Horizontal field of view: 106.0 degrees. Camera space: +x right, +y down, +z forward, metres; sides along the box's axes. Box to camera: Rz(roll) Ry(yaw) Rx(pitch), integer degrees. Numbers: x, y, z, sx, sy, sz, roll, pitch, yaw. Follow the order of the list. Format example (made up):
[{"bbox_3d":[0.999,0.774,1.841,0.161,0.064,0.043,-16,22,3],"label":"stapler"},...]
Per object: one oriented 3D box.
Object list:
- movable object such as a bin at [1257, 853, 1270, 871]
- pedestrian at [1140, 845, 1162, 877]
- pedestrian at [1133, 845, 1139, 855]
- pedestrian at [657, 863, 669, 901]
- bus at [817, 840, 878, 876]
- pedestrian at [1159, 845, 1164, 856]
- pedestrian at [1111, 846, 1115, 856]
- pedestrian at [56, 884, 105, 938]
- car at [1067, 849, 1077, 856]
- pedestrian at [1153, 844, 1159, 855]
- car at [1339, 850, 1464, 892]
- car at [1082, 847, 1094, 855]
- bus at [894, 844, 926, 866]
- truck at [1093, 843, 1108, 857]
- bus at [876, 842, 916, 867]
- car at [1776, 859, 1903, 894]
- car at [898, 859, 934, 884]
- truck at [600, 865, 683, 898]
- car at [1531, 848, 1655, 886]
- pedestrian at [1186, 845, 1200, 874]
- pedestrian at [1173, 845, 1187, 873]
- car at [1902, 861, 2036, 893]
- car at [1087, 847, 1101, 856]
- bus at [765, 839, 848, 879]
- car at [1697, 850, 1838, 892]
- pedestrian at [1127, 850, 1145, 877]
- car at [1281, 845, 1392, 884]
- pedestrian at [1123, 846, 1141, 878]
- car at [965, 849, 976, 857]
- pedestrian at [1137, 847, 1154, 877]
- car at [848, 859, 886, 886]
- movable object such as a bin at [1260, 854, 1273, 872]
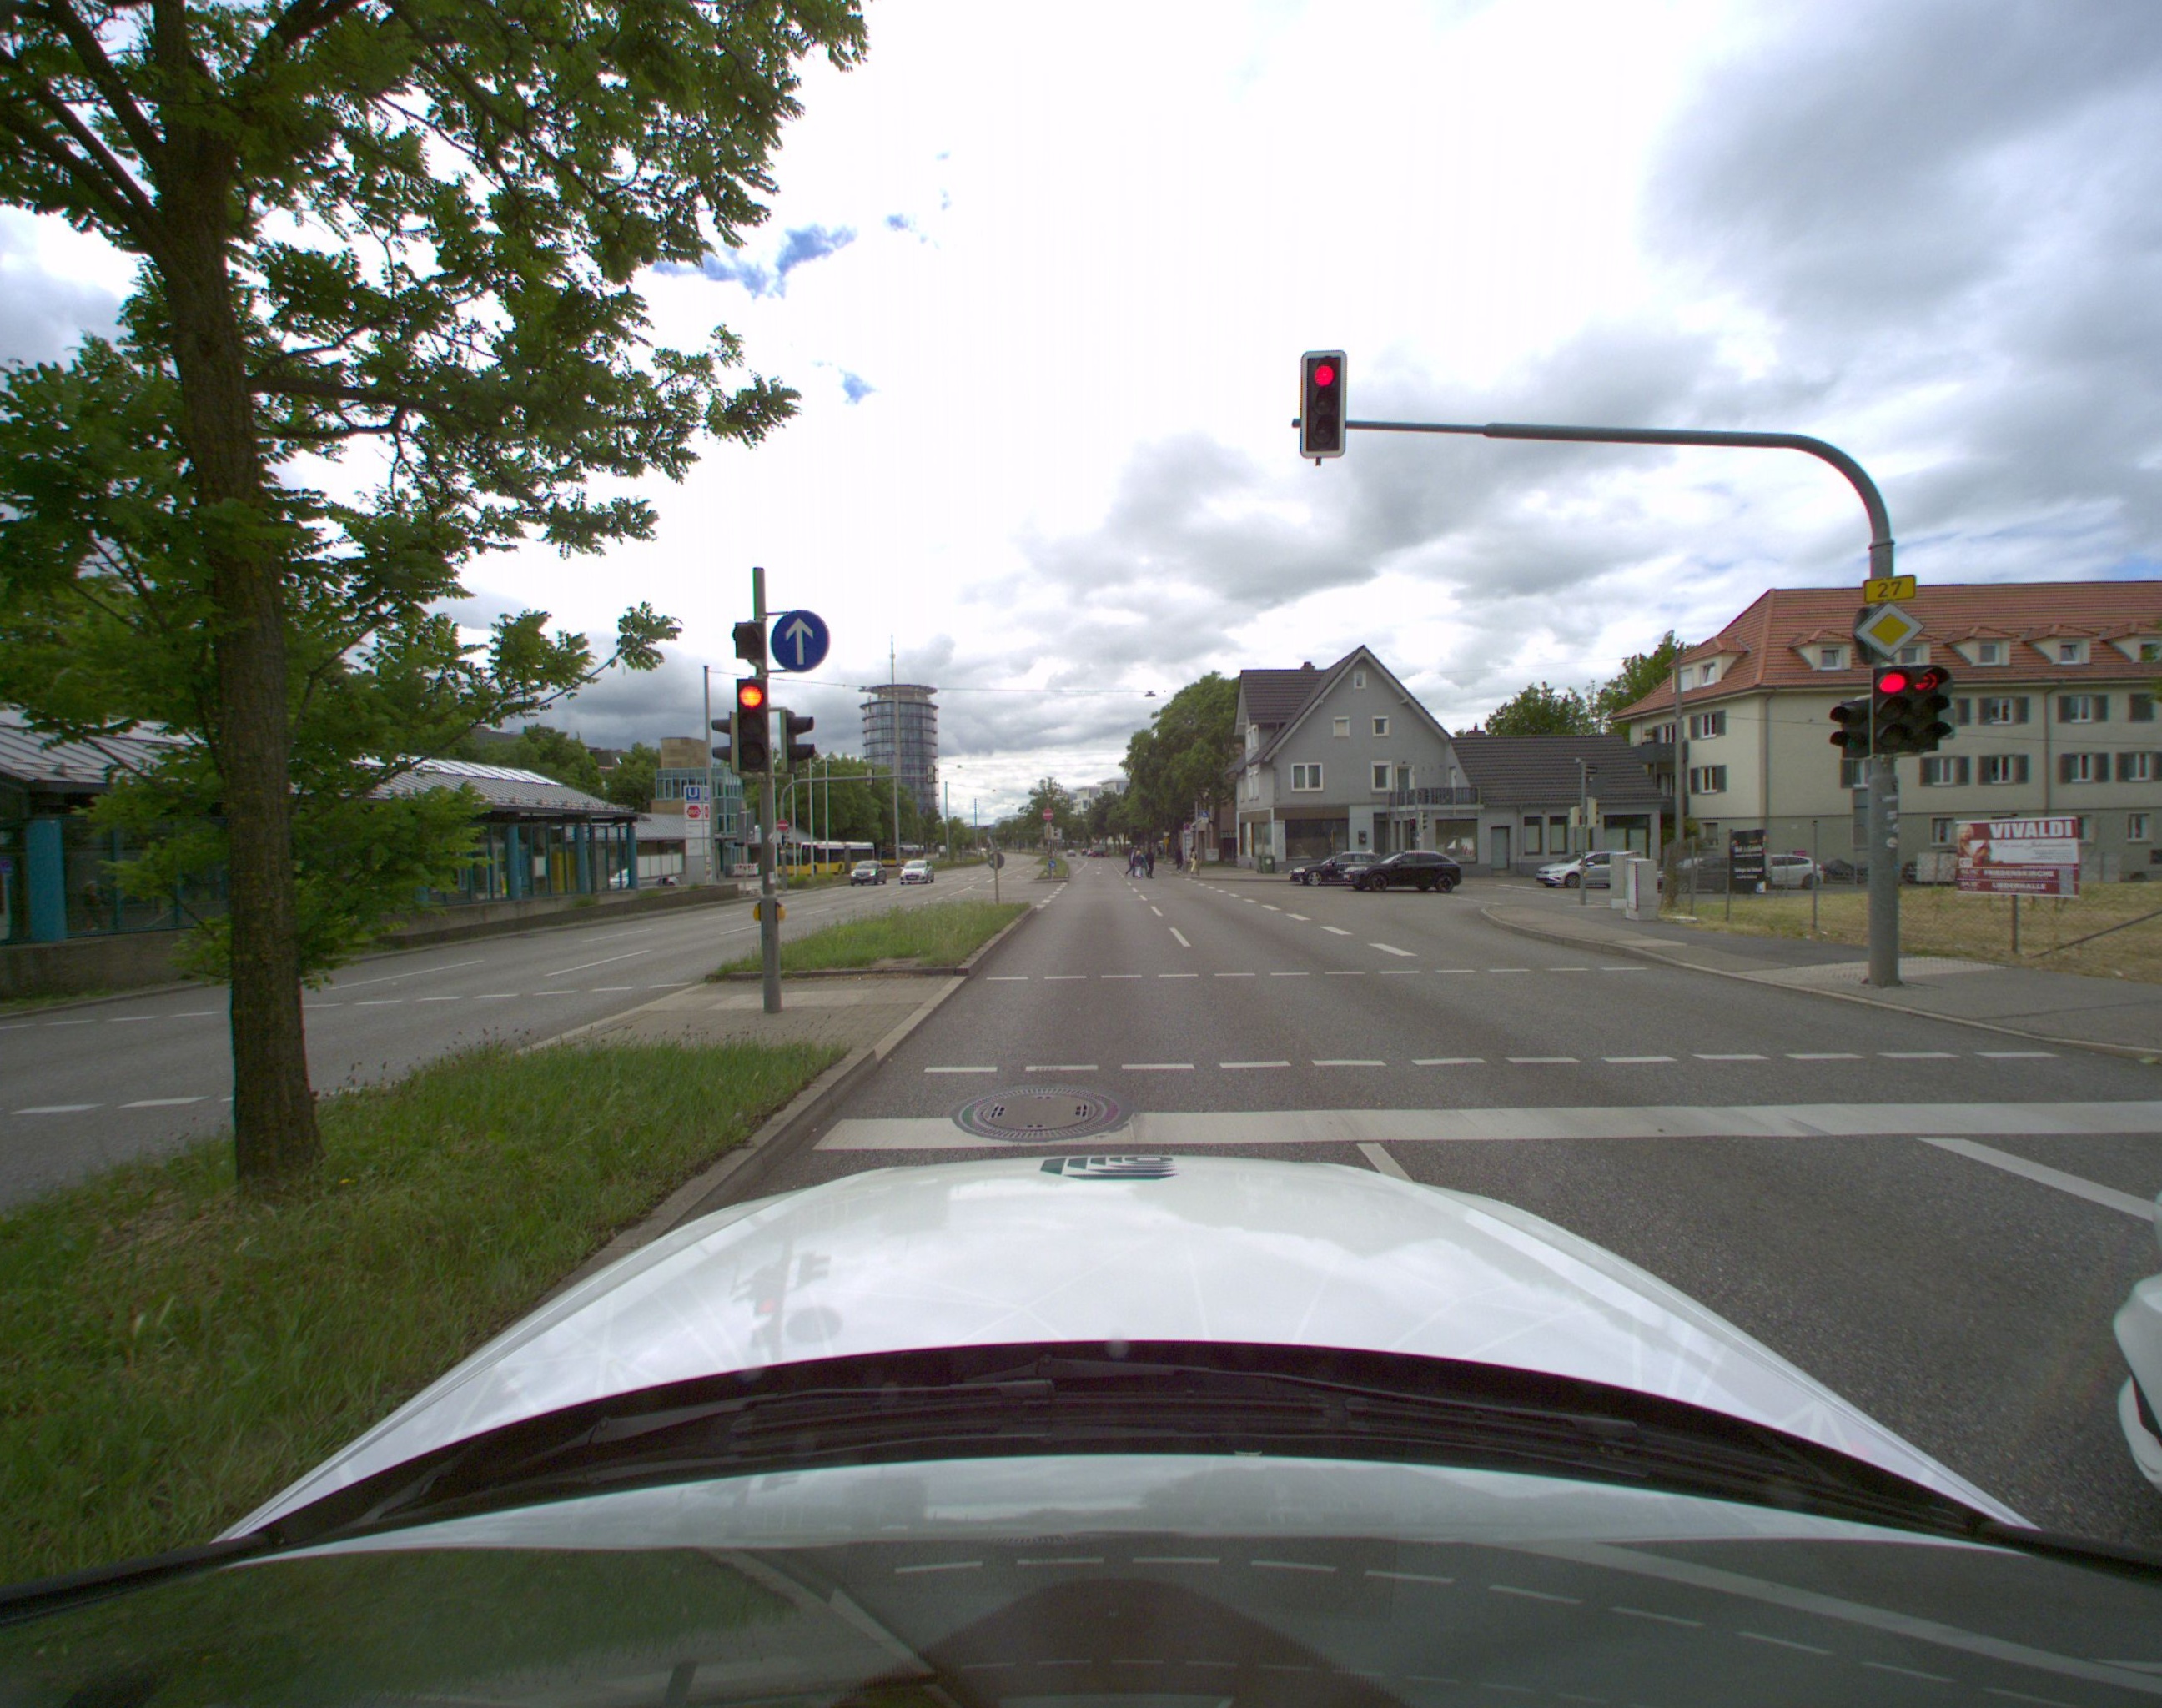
[{"bbox_3d":[10.038,0.449,44.749,0.527,0.979,0.737,-2,0,2],"label":"movable object such as a bin"},{"bbox_3d":[3.929,0.405,45.516,1.048,1.760,0.706,-2,0,-8],"label":"pedestrian"},{"bbox_3d":[10.440,-0.751,154.770,0.967,2.014,0.981,0,-1,1],"label":"pedestrian"},{"bbox_3d":[-17.565,1.183,34.236,0.420,1.591,0.353,-2,0,-28],"label":"pedestrian"},{"bbox_3d":[-23.349,0.373,81.871,2.975,3.270,7.889,-2,0,6],"label":"bus"},{"bbox_3d":[12.129,-0.541,122.462,0.649,1.570,0.669,-2,0,-6],"label":"pedestrian"},{"bbox_3d":[7.257,-0.674,185.019,0.930,2.308,1.008,0,-1,-8],"label":"pedestrian"},{"bbox_3d":[-29.970,1.688,24.410,0.632,1.571,0.662,0,-1,2],"label":"pedestrian"},{"bbox_3d":[-1.843,-0.302,172.357,1.963,1.420,4.017,-2,0,-3],"label":"car"},{"bbox_3d":[11.284,-0.655,122.516,0.649,1.570,0.669,-2,0,-6],"label":"pedestrian"},{"bbox_3d":[12.065,0.611,30.810,4.054,1.521,1.837,0,0,-7],"label":"car"},{"bbox_3d":[1.516,-0.559,173.764,2.246,1.647,4.927,-2,0,-3],"label":"car"},{"bbox_3d":[-26.032,0.127,124.330,3.134,3.225,7.765,-2,0,0],"label":"bus"},{"bbox_3d":[3.548,-0.679,148.450,2.246,2.416,4.928,-2,0,-3],"label":"truck"},{"bbox_3d":[-26.090,0.101,115.321,3.135,3.225,10.282,-2,0,0],"label":"bus"},{"bbox_3d":[34.042,0.986,36.616,3.972,1.537,1.871,0,0,2],"label":"car"},{"bbox_3d":[-10.339,1.058,51.325,1.680,1.462,3.552,-2,0,-3],"label":"car"},{"bbox_3d":[-22.695,1.367,42.252,1.986,1.517,4.001,-2,0,1],"label":"truck"},{"bbox_3d":[21.519,0.534,34.332,4.086,1.540,1.829,0,0,1],"label":"car"},{"bbox_3d":[6.721,0.331,48.794,0.701,1.662,0.873,-2,0,10],"label":"pedestrian"},{"bbox_3d":[6.003,0.275,49.506,0.700,1.662,0.873,-2,0,12],"label":"pedestrian"},{"bbox_3d":[39.812,1.023,36.577,3.972,1.377,1.871,0,0,2],"label":"car"},{"bbox_3d":[2.540,-0.488,158.332,2.246,1.757,4.928,-2,0,-3],"label":"car"},{"bbox_3d":[-24.321,0.406,72.871,2.975,3.250,10.186,-2,0,6],"label":"bus"},{"bbox_3d":[29.090,0.714,34.601,4.225,1.477,2.001,-3,0,2],"label":"car"},{"bbox_3d":[3.153,0.526,46.684,0.866,1.507,0.706,-2,0,-7],"label":"pedestrian"},{"bbox_3d":[10.796,0.439,34.583,4.078,1.494,1.892,-2,0,-5],"label":"car"},{"bbox_3d":[2.971,0.465,47.440,0.866,1.780,0.706,-2,0,-7],"label":"pedestrian"},{"bbox_3d":[-27.250,-0.167,201.221,1.958,2.014,4.001,0,-1,2],"label":"car"},{"bbox_3d":[3.951,0.482,49.819,0.866,1.780,0.706,-2,0,-7],"label":"pedestrian"},{"bbox_3d":[-13.492,1.149,51.536,1.681,1.578,3.344,-2,0,-4],"label":"car"},{"bbox_3d":[10.032,0.478,43.958,0.527,0.979,0.737,-2,0,2],"label":"movable object such as a bin"}]
